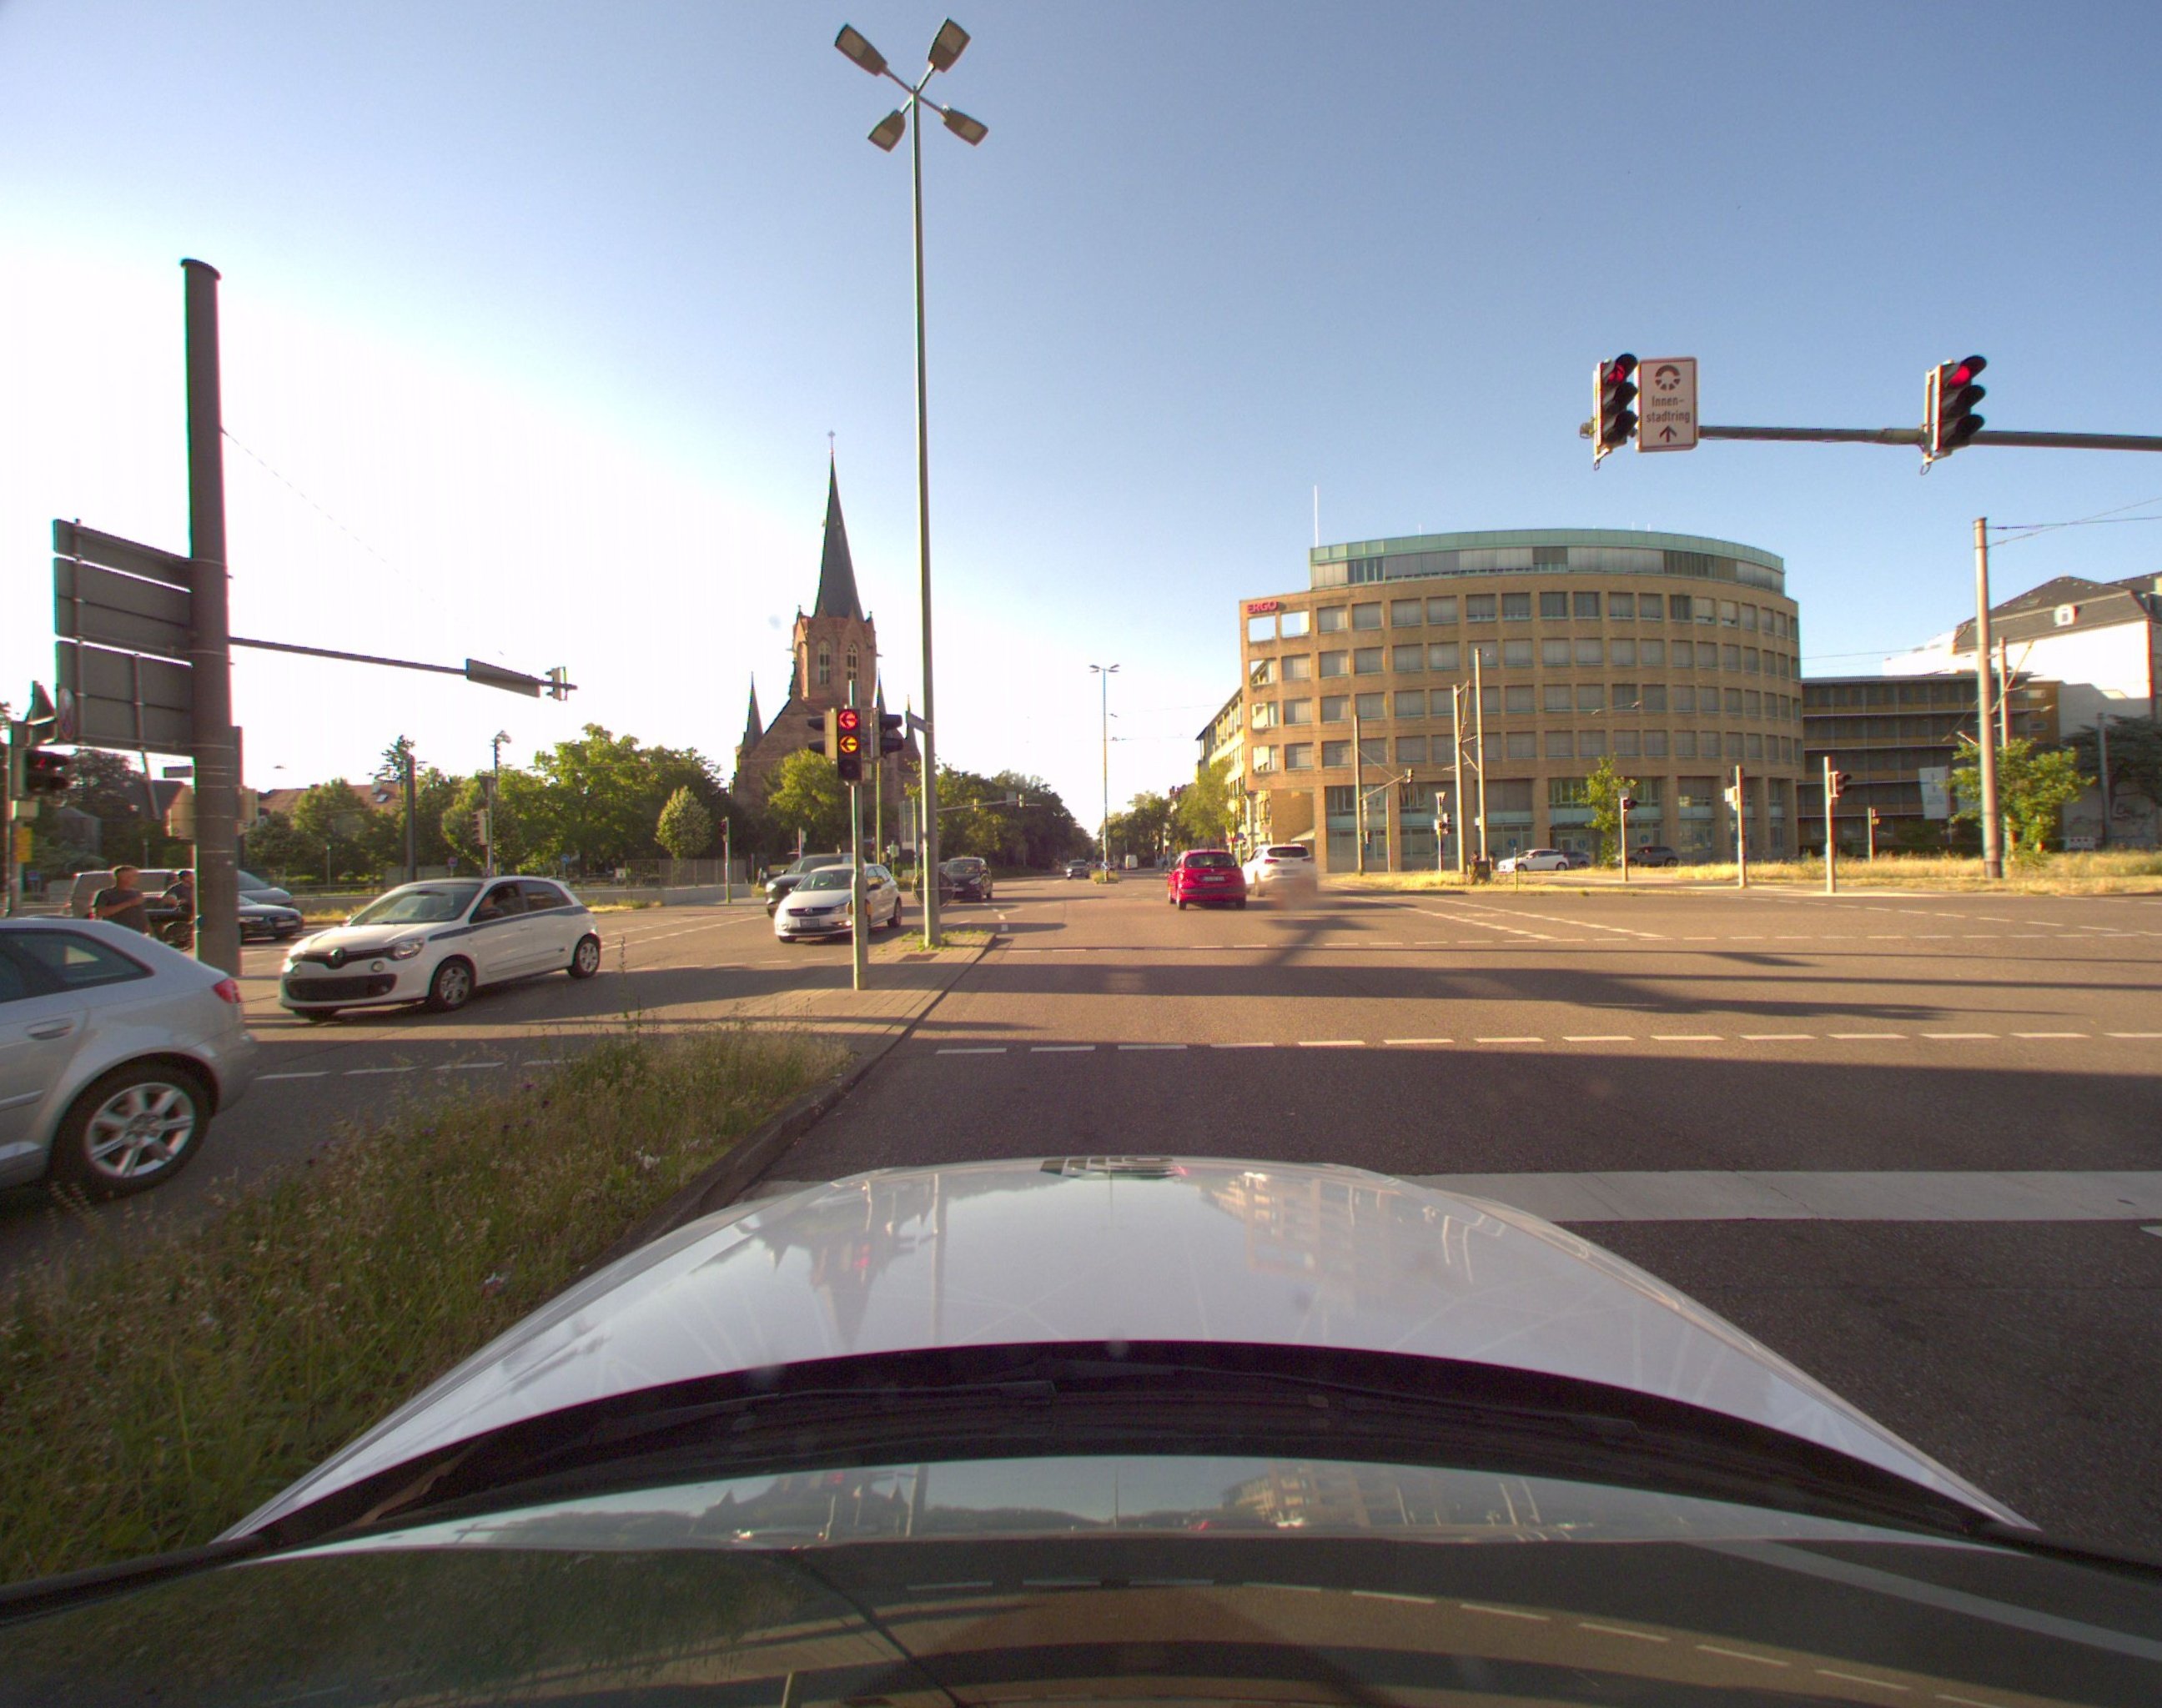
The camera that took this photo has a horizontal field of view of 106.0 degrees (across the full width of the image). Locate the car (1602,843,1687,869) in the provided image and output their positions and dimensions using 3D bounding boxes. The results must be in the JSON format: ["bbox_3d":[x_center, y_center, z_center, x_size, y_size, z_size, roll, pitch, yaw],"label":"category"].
[{"bbox_3d":[35.226,0.139,51.015,4.038,1.492,1.820,-2,-1,0],"label":"car"}]

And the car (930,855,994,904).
[{"bbox_3d":[-4.130,0.852,28.714,1.572,1.544,3.478,-3,0,1],"label":"car"}]

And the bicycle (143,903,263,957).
[{"bbox_3d":[-20.806,1.782,19.331,1.770,1.097,0.952,-3,0,1],"label":"bicycle"}]

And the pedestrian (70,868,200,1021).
[{"bbox_3d":[-11.667,1.082,10.073,0.605,1.787,0.813,1,0,5],"label":"pedestrian"}]

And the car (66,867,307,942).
[{"bbox_3d":[-26.731,1.469,24.486,4.908,2.014,1.999,-2,-1,-1],"label":"car"}]

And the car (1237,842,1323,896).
[{"bbox_3d":[6.456,0.475,26.877,1.909,1.607,4.271,0,-1,2],"label":"car"}]

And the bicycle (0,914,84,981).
[{"bbox_3d":[-18.738,1.640,13.831,0.732,1.051,2.300,-2,0,1],"label":"bicycle"}]

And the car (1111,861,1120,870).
[{"bbox_3d":[5.723,1.912,135.430,1.588,1.267,3.268,-2,0,2],"label":"car"}]

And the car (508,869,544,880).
[{"bbox_3d":[-91.766,3.410,134.805,4.450,1.571,1.993,-1,-1,-10],"label":"car"}]

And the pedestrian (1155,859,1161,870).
[{"bbox_3d":[12.280,1.642,130.601,0.844,1.803,0.776,-2,0,1],"label":"pedestrian"}]

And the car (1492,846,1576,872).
[{"bbox_3d":[28.347,0.328,51.025,4.150,1.492,1.994,-2,-1,-1],"label":"car"}]

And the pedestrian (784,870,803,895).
[{"bbox_3d":[-20.237,2.005,57.300,1.004,1.696,0.850,-1,-1,40],"label":"pedestrian"}]

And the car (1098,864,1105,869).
[{"bbox_3d":[5.395,3.165,213.052,1.588,1.267,3.268,-2,0,2],"label":"car"}]

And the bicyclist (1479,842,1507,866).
[{"bbox_3d":[27.074,0.010,53.501,1.219,1.572,1.154,-2,-1,0],"label":"bicyclist"}]

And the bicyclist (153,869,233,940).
[{"bbox_3d":[-21.056,1.178,19.331,0.733,1.598,0.963,-3,0,1],"label":"bicyclist"}]

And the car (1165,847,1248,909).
[{"bbox_3d":[3.190,0.590,21.376,1.663,1.462,4.001,0,-1,2],"label":"car"}]

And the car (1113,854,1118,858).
[{"bbox_3d":[10.697,0.624,255.100,1.588,1.267,3.268,-2,0,2],"label":"car"}]

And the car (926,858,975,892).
[{"bbox_3d":[-6.874,1.083,43.170,1.788,1.565,4.148,-2,1,1],"label":"car"}]

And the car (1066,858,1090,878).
[{"bbox_3d":[-0.227,1.293,74.991,1.986,1.724,5.031,-2,-1,1],"label":"car"}]

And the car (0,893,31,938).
[{"bbox_3d":[-35.083,1.957,24.758,3.889,1.374,1.800,-2,-1,-1],"label":"car"}]

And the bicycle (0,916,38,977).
[{"bbox_3d":[-19.544,1.661,13.809,0.732,1.051,2.300,-2,-1,1],"label":"bicycle"}]

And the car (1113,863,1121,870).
[{"bbox_3d":[6.650,2.246,150.649,1.588,1.267,3.268,-2,0,2],"label":"car"}]

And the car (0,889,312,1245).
[{"bbox_3d":[-5.408,0.970,2.720,1.703,1.425,4.102,-3,0,0],"label":"car"}]

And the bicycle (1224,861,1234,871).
[{"bbox_3d":[15.314,1.202,84.355,0.644,0.994,2.081,-2,-1,1],"label":"bicycle"}]

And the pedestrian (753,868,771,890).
[{"bbox_3d":[-25.350,1.974,64.787,1.006,1.696,0.848,-1,-1,14],"label":"pedestrian"}]

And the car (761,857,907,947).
[{"bbox_3d":[-4.931,0.881,16.807,1.669,1.544,3.807,-3,0,2],"label":"car"}]

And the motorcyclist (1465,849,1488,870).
[{"bbox_3d":[27.207,0.368,56.079,1.061,1.435,1.032,-2,-1,1],"label":"motorcyclist"}]

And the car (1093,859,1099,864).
[{"bbox_3d":[4.634,2.387,251.282,1.879,1.671,4.002,0,-1,2],"label":"car"}]

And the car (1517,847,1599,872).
[{"bbox_3d":[32.753,0.382,56.051,4.464,1.537,1.987,-2,-1,2],"label":"car"}]

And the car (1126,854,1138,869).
[{"bbox_3d":[9.102,1.330,144.507,1.986,2.440,4.002,0,-1,2],"label":"car"}]

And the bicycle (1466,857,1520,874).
[{"bbox_3d":[27.048,0.746,53.500,2.951,1.000,1.154,-2,-1,-1],"label":"bicycle"}]

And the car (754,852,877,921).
[{"bbox_3d":[-7.576,0.835,23.771,1.809,1.711,4.788,-3,0,2],"label":"car"}]

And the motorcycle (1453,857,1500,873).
[{"bbox_3d":[27.204,0.760,56.072,2.708,0.964,1.032,-2,-1,0],"label":"motorcycle"}]

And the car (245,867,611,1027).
[{"bbox_3d":[-8.004,1.020,10.486,1.670,1.544,3.638,-3,0,0],"label":"car"}]

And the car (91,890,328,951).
[{"bbox_3d":[-22.641,1.704,21.285,4.175,1.313,1.800,-2,-1,-1],"label":"car"}]
